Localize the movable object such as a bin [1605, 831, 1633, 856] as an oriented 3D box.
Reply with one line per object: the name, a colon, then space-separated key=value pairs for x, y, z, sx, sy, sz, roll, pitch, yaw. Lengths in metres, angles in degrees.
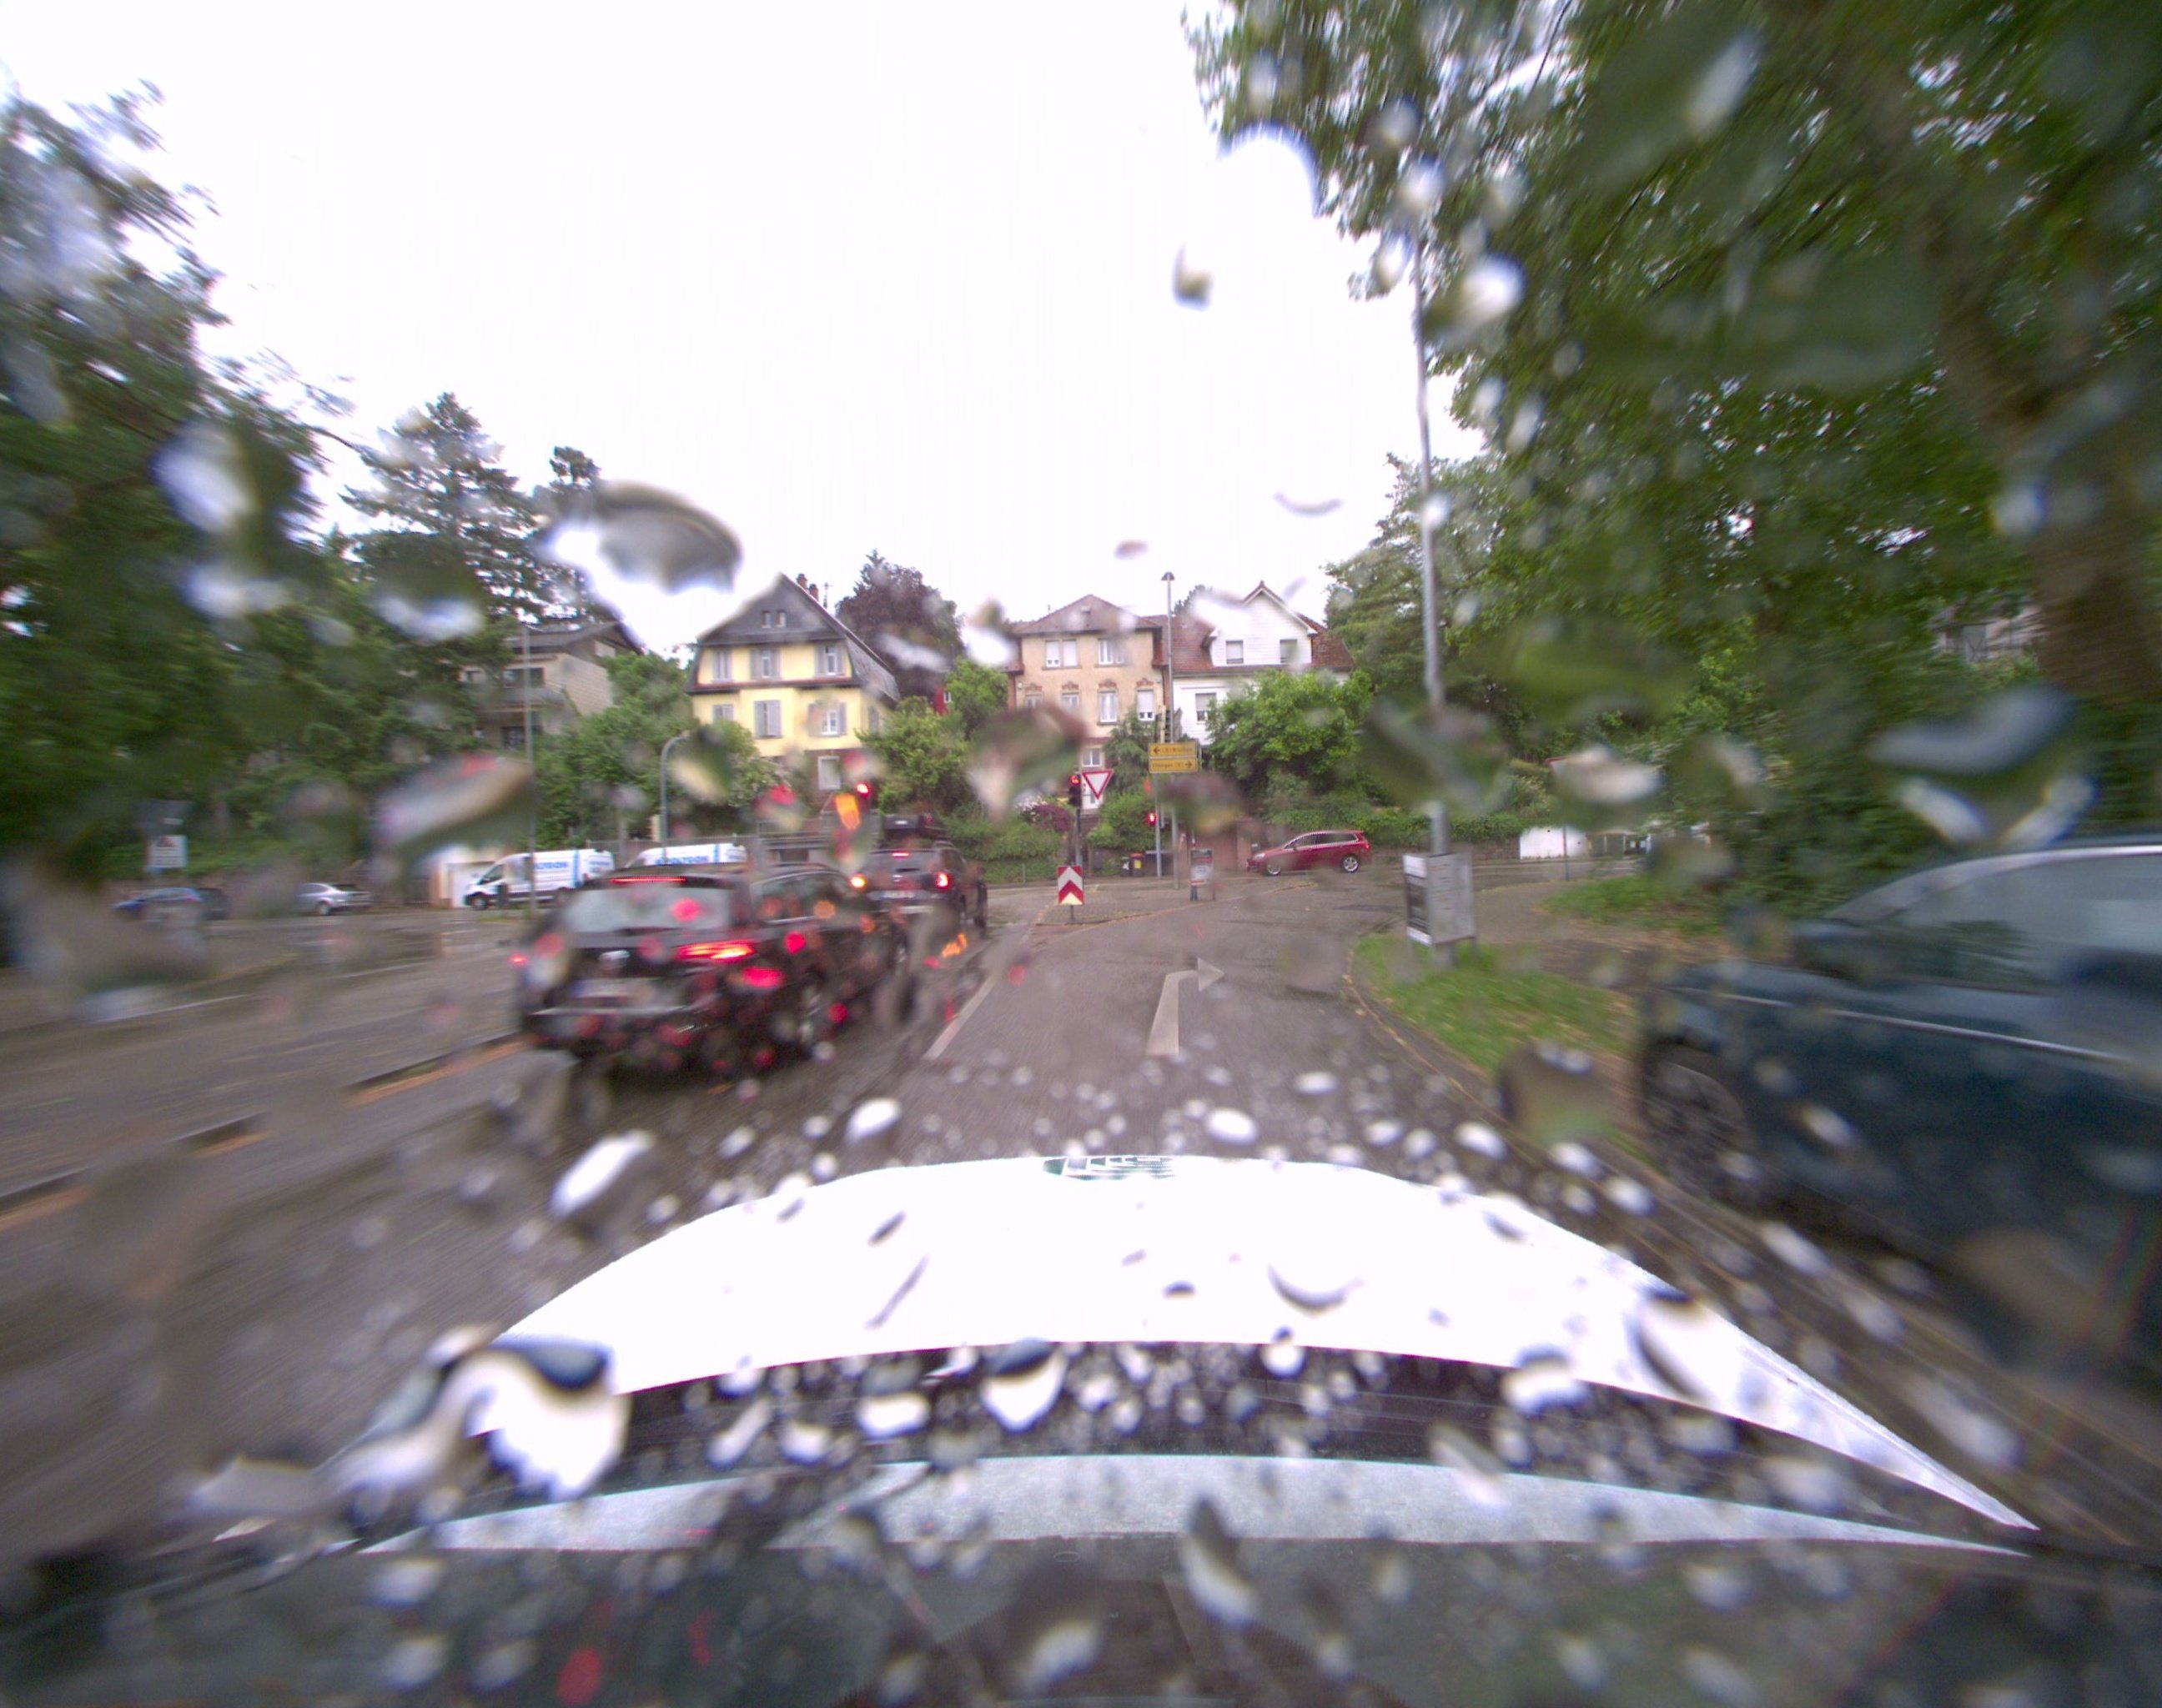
movable object such as a bin: x=23.947 y=-0.478 z=36.260 sx=0.788 sy=1.060 sz=0.637 roll=-3 pitch=-1 yaw=2

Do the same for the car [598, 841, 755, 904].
car: x=-17.451 y=0.814 z=35.328 sx=5.637 sy=2.494 sz=2.317 roll=-2 pitch=-1 yaw=3

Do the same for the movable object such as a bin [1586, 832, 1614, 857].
movable object such as a bin: x=23.166 y=-0.435 z=36.375 sx=0.748 sy=1.060 sz=0.689 roll=-3 pitch=-1 yaw=2

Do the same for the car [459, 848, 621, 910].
car: x=-23.575 y=1.083 z=35.650 sx=5.539 sy=2.494 sz=2.317 roll=-2 pitch=-1 yaw=3

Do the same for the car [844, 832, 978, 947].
car: x=-2.871 y=0.496 z=14.710 sx=1.757 sy=1.711 sz=4.594 roll=-1 pitch=1 yaw=-5

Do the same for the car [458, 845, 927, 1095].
car: x=-2.821 y=0.683 z=7.306 sx=1.824 sy=1.456 sz=4.661 roll=0 pitch=1 yaw=2

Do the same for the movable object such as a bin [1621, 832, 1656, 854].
movable object such as a bin: x=24.900 y=-0.471 z=36.410 sx=0.947 sy=0.916 sz=0.852 roll=-3 pitch=-1 yaw=1

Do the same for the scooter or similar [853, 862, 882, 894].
scooter or similar: x=-9.434 y=1.062 z=36.061 sx=1.099 sy=1.334 sz=0.456 roll=-2 pitch=-2 yaw=-40

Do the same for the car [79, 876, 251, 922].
car: x=-41.173 y=2.022 z=36.674 sx=5.539 sy=1.854 sz=2.112 roll=-2 pitch=-1 yaw=3

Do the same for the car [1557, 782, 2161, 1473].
car: x=3.225 y=0.594 z=2.316 sx=1.743 sy=1.491 sz=3.601 roll=0 pitch=0 yaw=2

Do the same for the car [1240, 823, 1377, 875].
car: x=8.365 y=-0.165 z=30.198 sx=4.549 sy=1.601 sz=1.776 roll=-4 pitch=-1 yaw=3

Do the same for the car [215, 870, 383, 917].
car: x=-34.646 y=1.723 z=36.175 sx=5.539 sy=1.854 sz=2.112 roll=-2 pitch=-1 yaw=3
